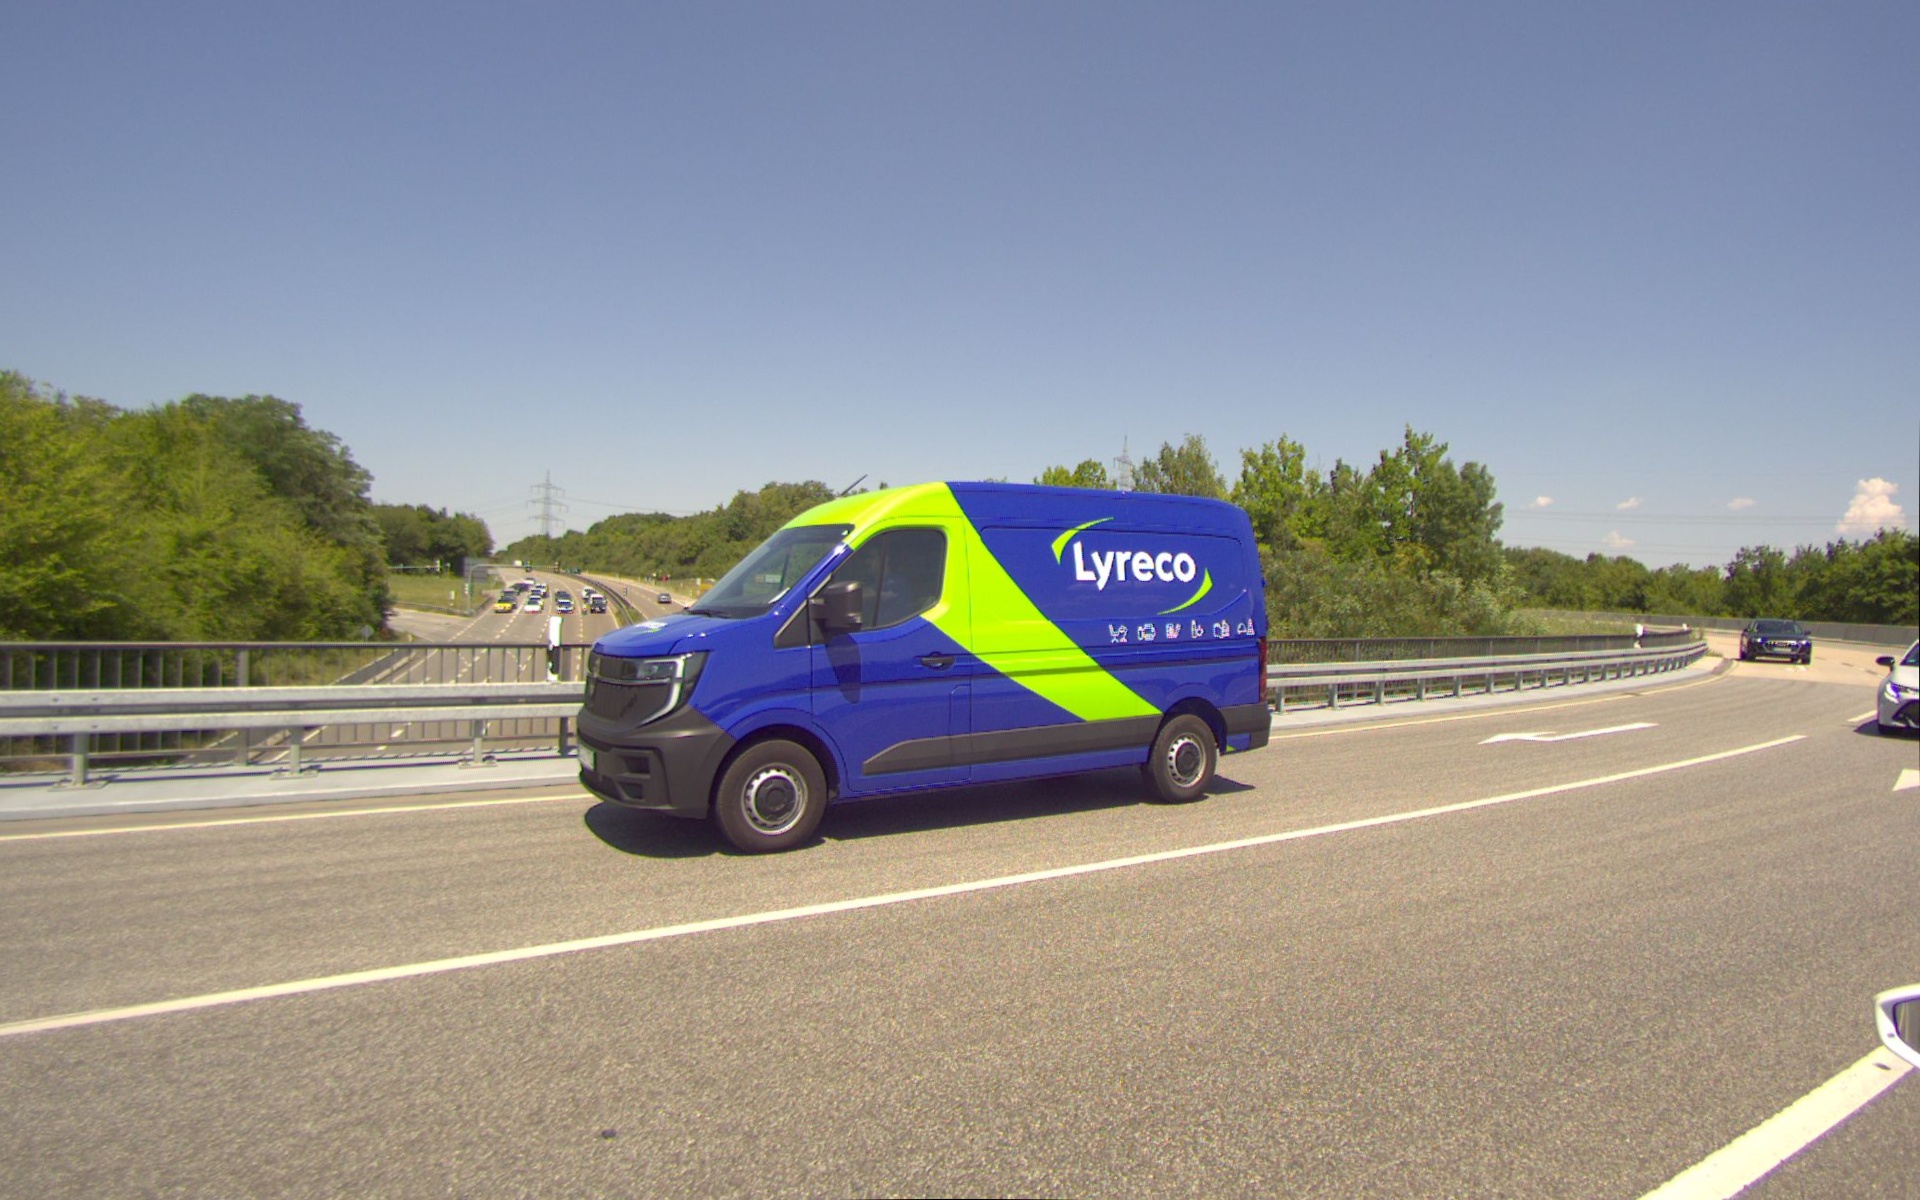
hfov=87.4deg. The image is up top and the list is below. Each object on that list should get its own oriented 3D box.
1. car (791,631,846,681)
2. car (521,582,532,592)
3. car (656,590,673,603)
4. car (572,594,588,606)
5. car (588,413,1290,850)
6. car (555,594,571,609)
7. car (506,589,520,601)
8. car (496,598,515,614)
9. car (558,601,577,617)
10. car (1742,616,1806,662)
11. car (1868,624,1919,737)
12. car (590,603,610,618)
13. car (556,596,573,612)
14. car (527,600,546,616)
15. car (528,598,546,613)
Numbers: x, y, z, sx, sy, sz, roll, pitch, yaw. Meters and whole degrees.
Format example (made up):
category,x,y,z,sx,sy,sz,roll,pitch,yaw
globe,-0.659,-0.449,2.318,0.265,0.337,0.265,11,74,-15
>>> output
category,x,y,z,sx,sy,sz,roll,pitch,yaw
car,-10.030,3.898,70.867,2.593,2.961,5.461,1,3,-22
car,-80.850,-2.475,187.219,1.778,1.670,3.619,2,3,-23
car,-44.099,-0.536,149.968,1.971,1.618,3.977,1,4,-22
car,-56.675,-0.010,149.752,1.972,1.662,3.976,1,2,-24
car,0.057,0.270,8.091,5.421,2.517,1.983,2,-2,-32
car,-56.394,0.194,142.755,1.972,1.929,3.976,1,2,-24
car,-68.474,-0.848,153.824,1.972,1.662,3.976,1,2,-24
car,-53.801,0.726,118.967,1.972,1.662,3.976,1,2,-24
car,-47.179,1.087,120.680,1.972,1.662,3.976,1,2,-24
car,30.603,1.435,37.855,1.792,1.617,4.429,-1,-2,38
car,14.573,1.127,14.350,4.329,1.478,1.729,2,-1,-39
car,-43.905,1.252,122.346,1.972,1.662,3.976,1,2,-24
car,-52.901,0.532,134.375,1.972,1.929,3.976,1,2,-24
car,-50.492,0.909,119.653,1.972,1.662,3.976,1,2,-24
car,-52.993,0.666,125.684,1.972,1.662,3.976,1,2,-24
